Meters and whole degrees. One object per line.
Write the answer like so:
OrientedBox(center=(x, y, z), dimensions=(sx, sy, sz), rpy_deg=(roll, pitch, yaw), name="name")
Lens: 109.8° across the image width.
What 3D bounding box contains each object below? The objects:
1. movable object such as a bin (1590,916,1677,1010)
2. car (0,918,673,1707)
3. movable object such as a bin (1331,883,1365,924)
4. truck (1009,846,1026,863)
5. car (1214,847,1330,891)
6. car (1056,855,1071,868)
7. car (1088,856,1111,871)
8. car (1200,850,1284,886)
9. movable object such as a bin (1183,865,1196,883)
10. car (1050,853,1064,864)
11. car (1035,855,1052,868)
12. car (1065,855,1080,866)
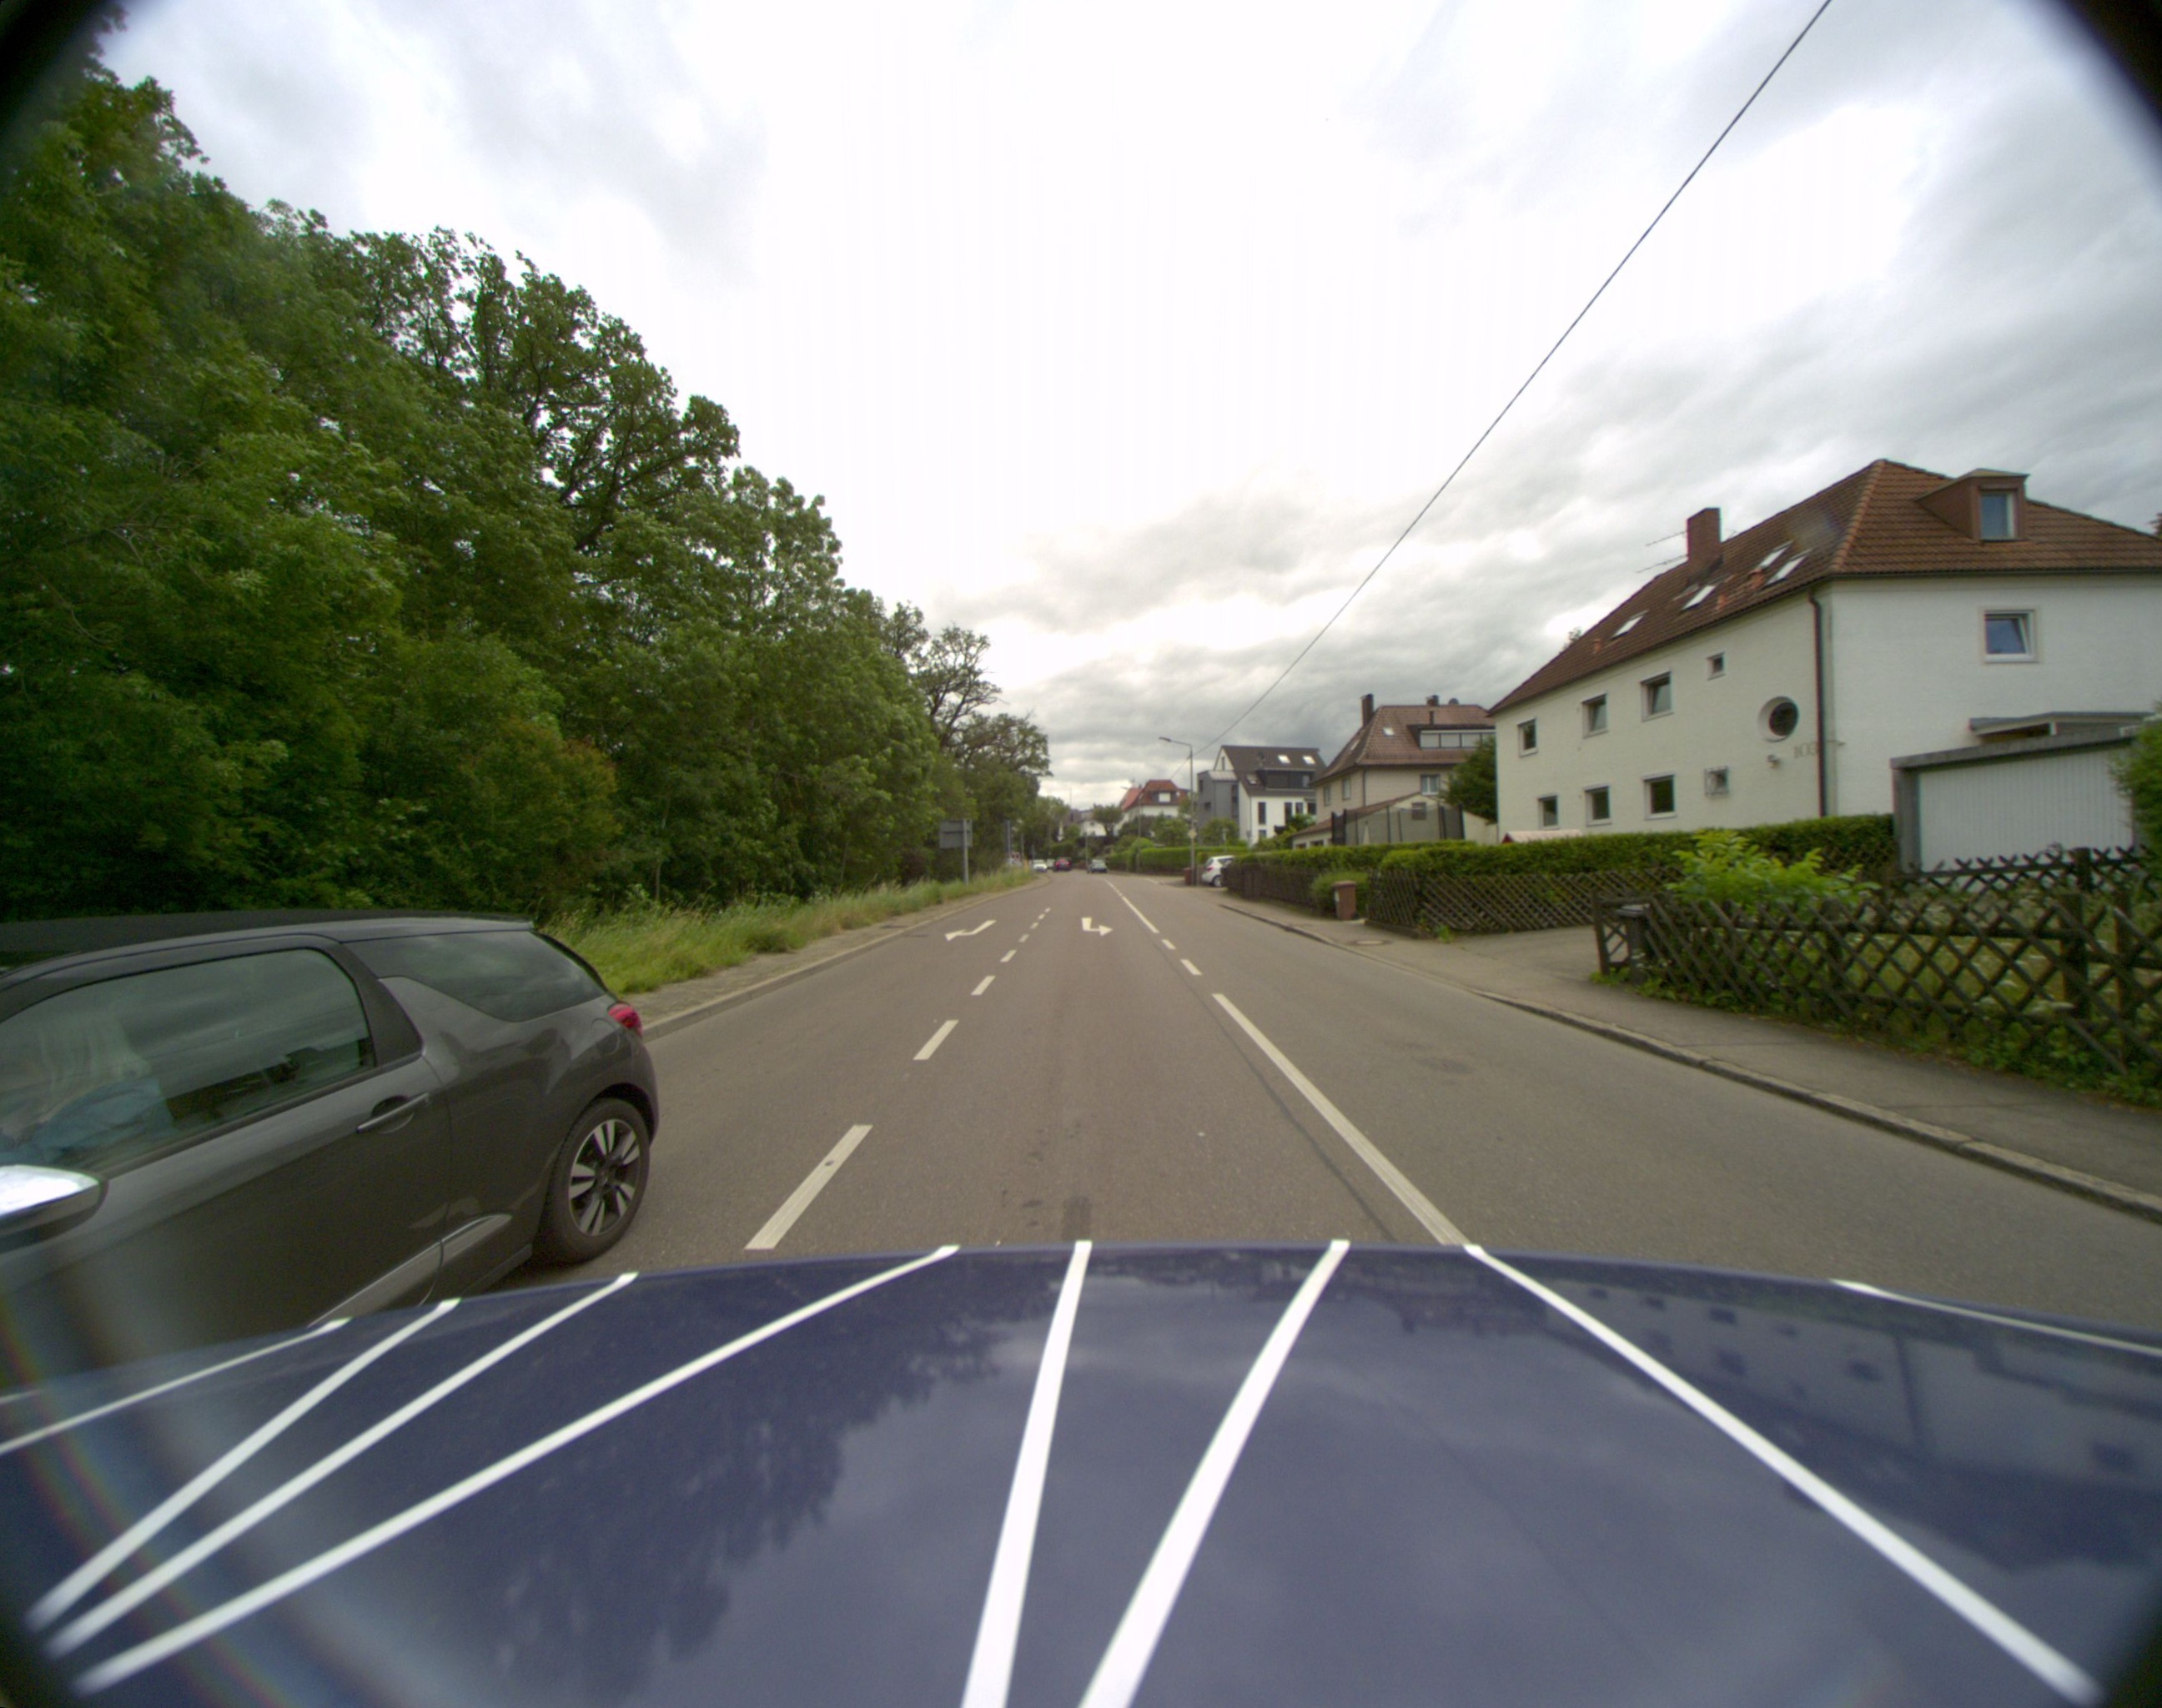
OrientedBox(center=(5.992, 1.172, 8.258), dimensions=(0.551, 0.932, 0.538), rpy_deg=(-1, 0, 2), name="movable object such as a bin")
OrientedBox(center=(-2.830, 1.051, 1.581), dimensions=(1.730, 1.449, 3.855), rpy_deg=(-2, 0, 2), name="car")
OrientedBox(center=(6.227, 1.147, 17.720), dimensions=(0.634, 0.907, 0.561), rpy_deg=(-2, 0, 10), name="movable object such as a bin")
OrientedBox(center=(-13.680, 0.155, 163.466), dimensions=(3.008, 3.618, 7.083), rpy_deg=(-1, 0, -8), name="truck")
OrientedBox(center=(8.541, 0.658, 34.198), dimensions=(4.682, 1.660, 1.882), rpy_deg=(-3, 0, -1), name="car")
OrientedBox(center=(-2.239, 0.948, 99.980), dimensions=(1.817, 1.590, 3.956), rpy_deg=(-1, 0, 0), name="car")
OrientedBox(center=(2.051, 1.046, 85.224), dimensions=(1.840, 1.514, 3.997), rpy_deg=(-1, 0, -9), name="car")
OrientedBox(center=(8.358, 0.718, 39.708), dimensions=(3.997, 1.584, 1.718), rpy_deg=(-3, 0, 1), name="car")
OrientedBox(center=(6.123, 1.131, 42.815), dimensions=(0.689, 0.948, 0.572), rpy_deg=(-1, 0, 5), name="movable object such as a bin")
OrientedBox(center=(-3.876, 0.762, 122.654), dimensions=(1.833, 1.665, 3.997), rpy_deg=(-1, 1, -6), name="car")
OrientedBox(center=(-4.922, 0.966, 100.144), dimensions=(1.999, 1.565, 3.999), rpy_deg=(-3, 0, -2), name="car")
OrientedBox(center=(-1.254, 0.904, 109.061), dimensions=(1.876, 1.569, 3.998), rpy_deg=(-1, 0, -6), name="car")
